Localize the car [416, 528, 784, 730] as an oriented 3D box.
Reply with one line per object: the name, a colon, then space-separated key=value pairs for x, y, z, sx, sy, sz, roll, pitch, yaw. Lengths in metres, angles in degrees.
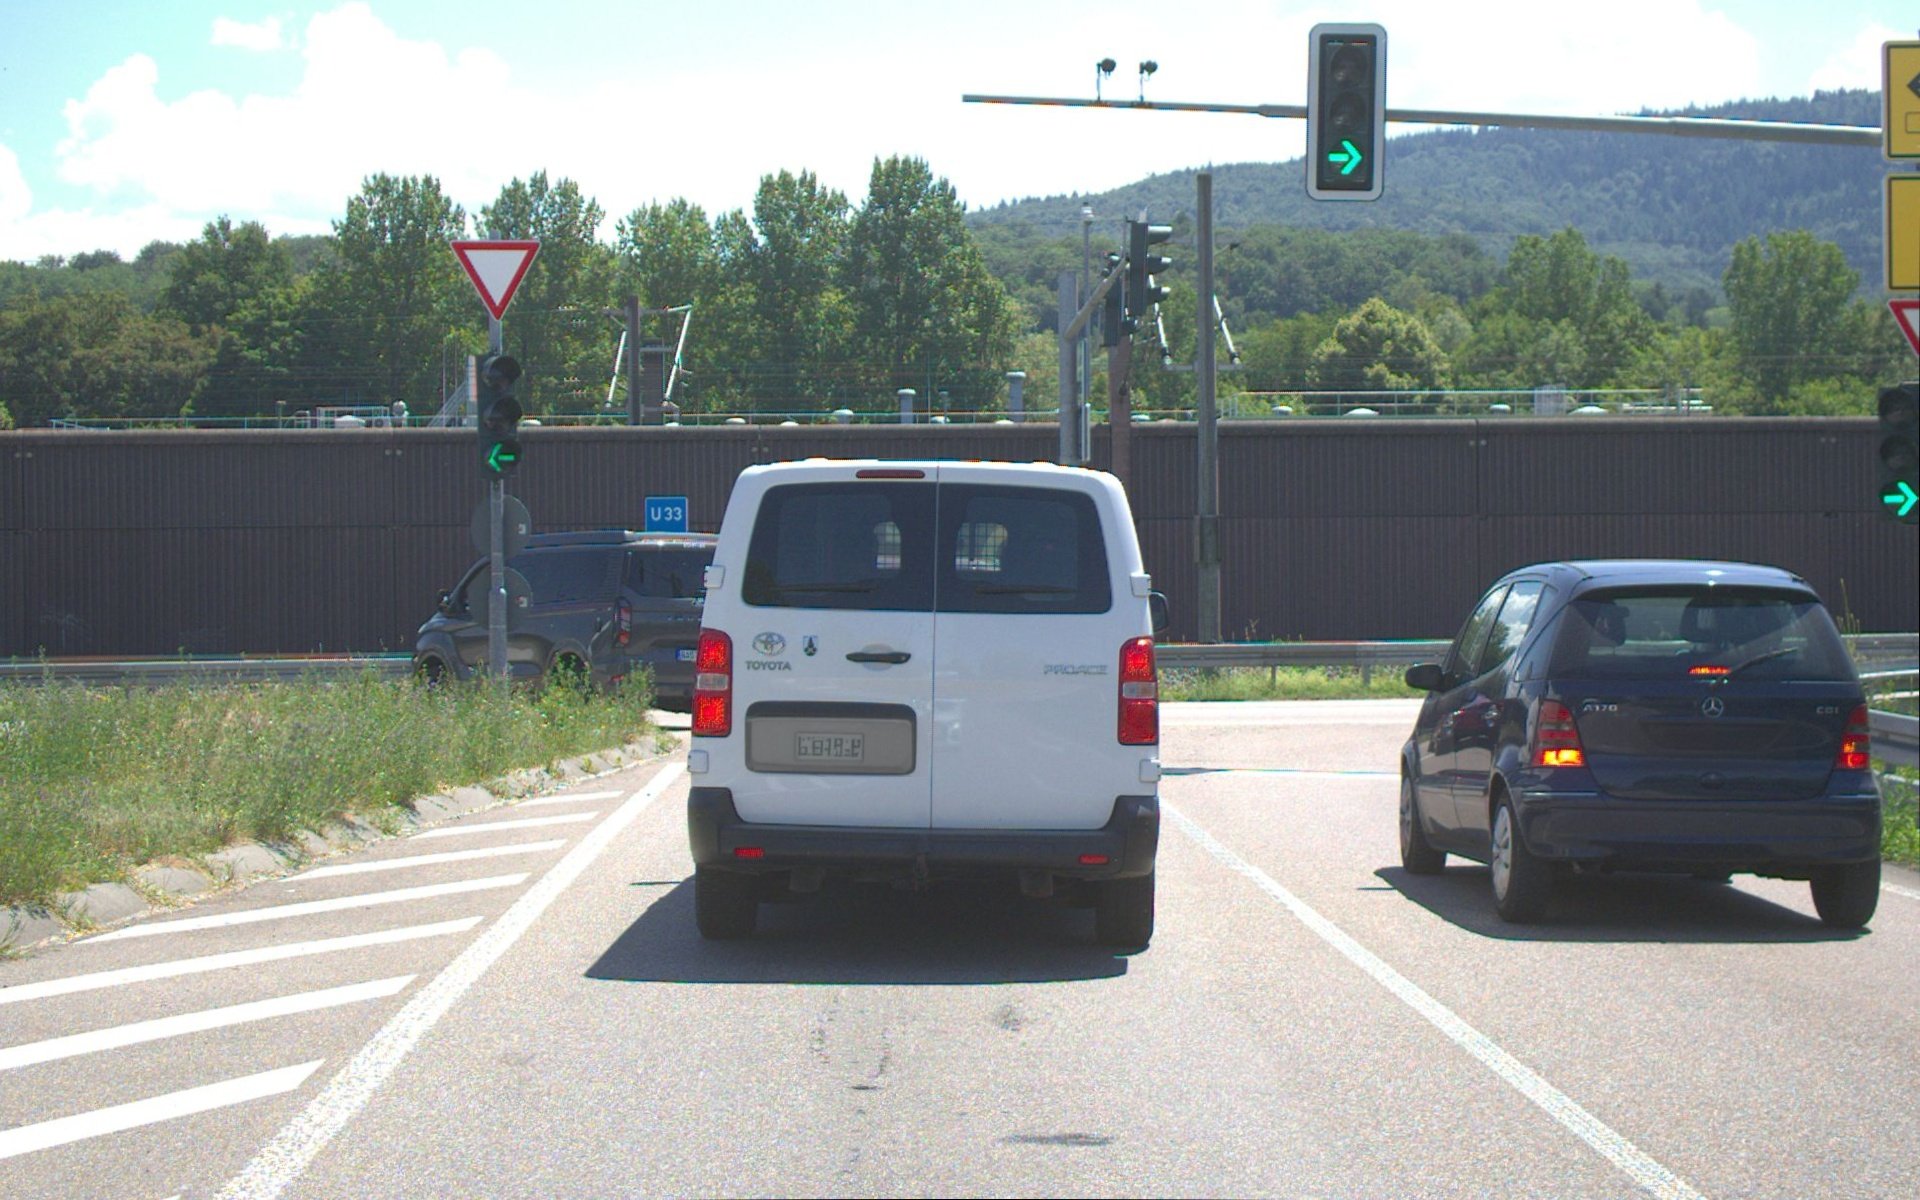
car: x=-3.925 y=0.277 z=36.756 sx=1.993 sy=2.007 sz=4.712 roll=0 pitch=0 yaw=-33

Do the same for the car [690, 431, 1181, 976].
car: x=-0.120 y=0.363 z=14.722 sx=1.814 sy=2.011 sz=4.000 roll=0 pitch=0 yaw=-1

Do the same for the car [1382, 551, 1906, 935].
car: x=3.105 y=0.585 z=16.272 sx=1.668 sy=1.595 sz=3.554 roll=1 pitch=1 yaw=-1
